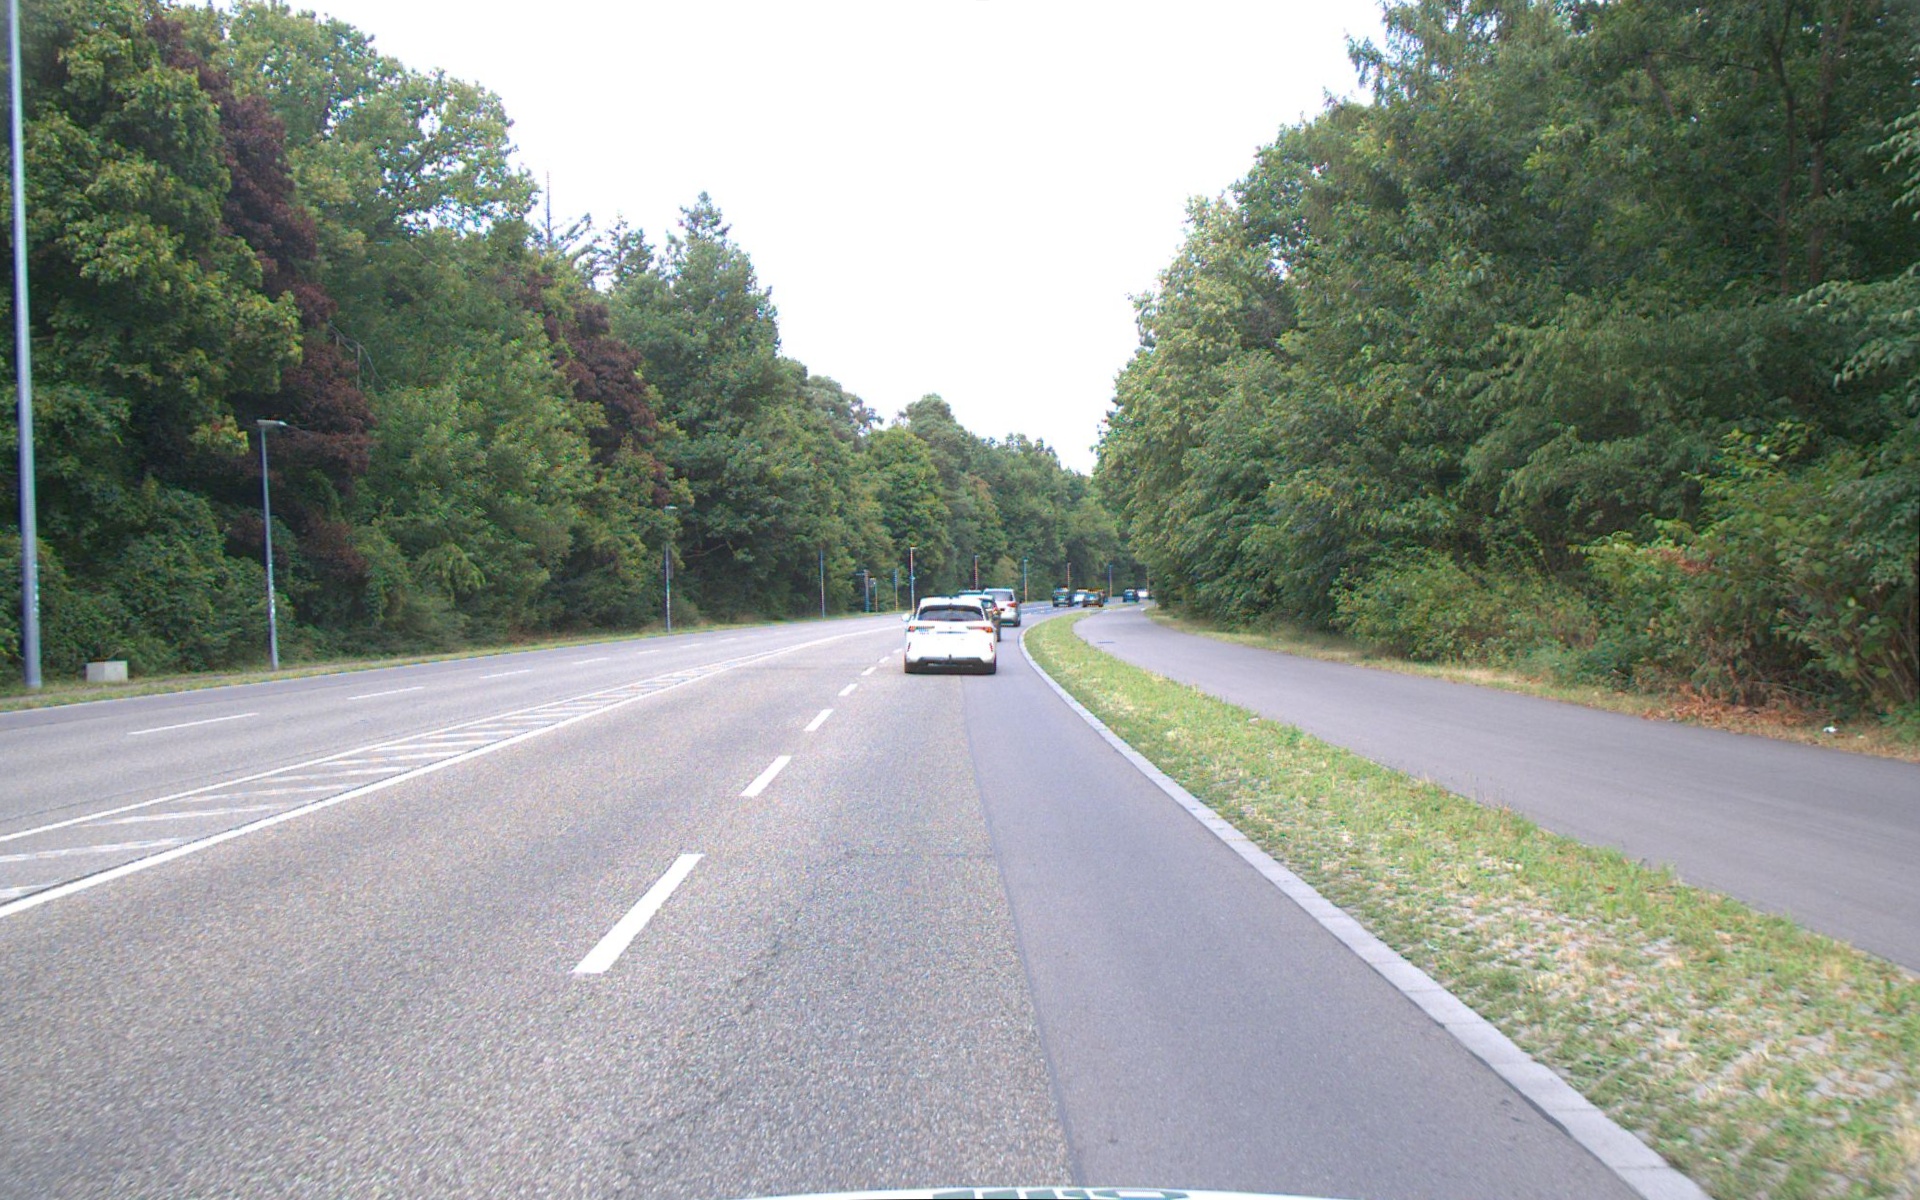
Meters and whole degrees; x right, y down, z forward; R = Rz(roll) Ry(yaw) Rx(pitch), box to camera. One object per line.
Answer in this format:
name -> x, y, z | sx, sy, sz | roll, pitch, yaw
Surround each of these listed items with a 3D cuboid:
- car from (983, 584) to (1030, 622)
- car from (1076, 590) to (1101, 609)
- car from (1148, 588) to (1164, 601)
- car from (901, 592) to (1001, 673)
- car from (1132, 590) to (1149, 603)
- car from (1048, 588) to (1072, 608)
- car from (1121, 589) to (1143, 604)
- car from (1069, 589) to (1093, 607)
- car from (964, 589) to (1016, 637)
car -> 2.138, 0.170, 75.296 | 1.952, 1.635, 4.002 | 2, -1, 4
car -> 12.509, -0.043, 161.010 | 1.951, 1.814, 4.003 | 1, -1, 10
car -> 27.876, -0.811, 234.819 | 1.951, 1.736, 4.004 | 0, 0, 11
car -> -0.201, 0.610, 32.488 | 1.799, 1.435, 4.489 | 2, -1, -1
car -> 26.963, -0.567, 246.415 | 1.848, 1.847, 4.002 | 1, -1, 16
car -> 9.912, -0.181, 164.037 | 1.951, 1.814, 4.003 | 1, -1, 9
car -> 21.470, -0.410, 206.203 | 1.951, 1.814, 4.002 | 1, -1, 16
car -> 13.285, -0.223, 181.372 | 1.951, 1.814, 4.003 | 1, -1, 14
car -> 0.949, 0.431, 53.467 | 1.602, 1.445, 4.000 | 2, -1, 0
